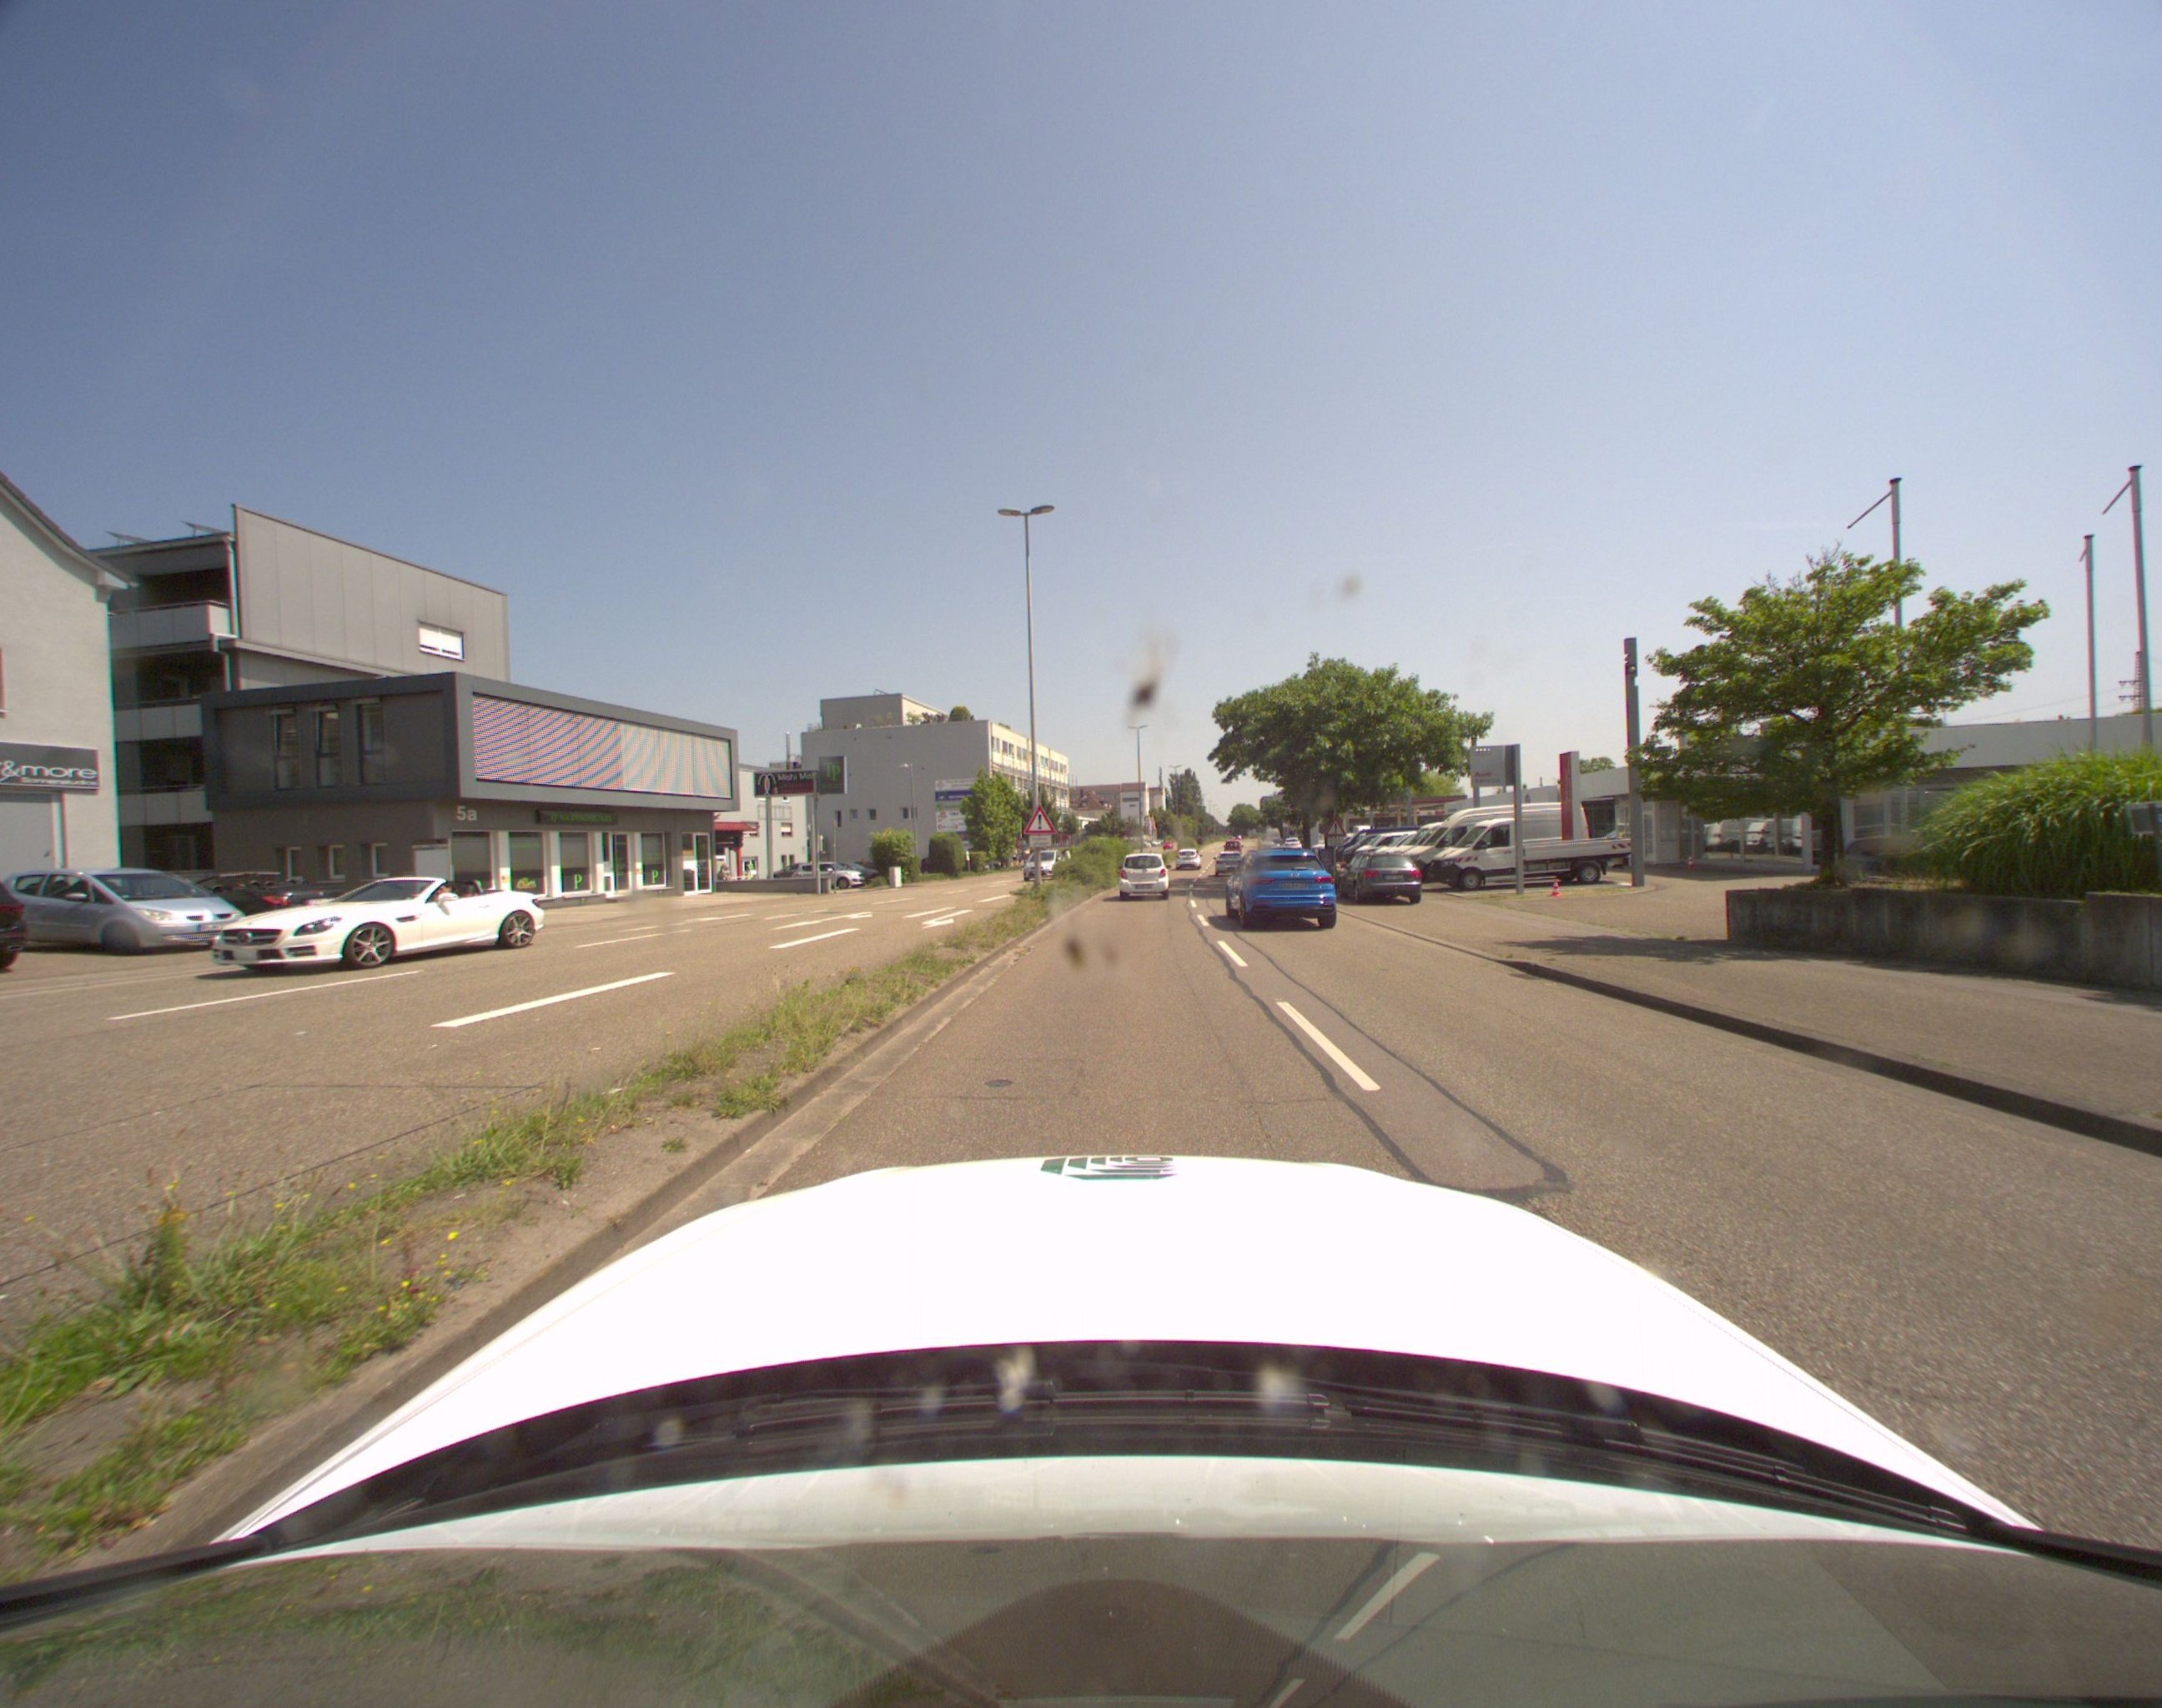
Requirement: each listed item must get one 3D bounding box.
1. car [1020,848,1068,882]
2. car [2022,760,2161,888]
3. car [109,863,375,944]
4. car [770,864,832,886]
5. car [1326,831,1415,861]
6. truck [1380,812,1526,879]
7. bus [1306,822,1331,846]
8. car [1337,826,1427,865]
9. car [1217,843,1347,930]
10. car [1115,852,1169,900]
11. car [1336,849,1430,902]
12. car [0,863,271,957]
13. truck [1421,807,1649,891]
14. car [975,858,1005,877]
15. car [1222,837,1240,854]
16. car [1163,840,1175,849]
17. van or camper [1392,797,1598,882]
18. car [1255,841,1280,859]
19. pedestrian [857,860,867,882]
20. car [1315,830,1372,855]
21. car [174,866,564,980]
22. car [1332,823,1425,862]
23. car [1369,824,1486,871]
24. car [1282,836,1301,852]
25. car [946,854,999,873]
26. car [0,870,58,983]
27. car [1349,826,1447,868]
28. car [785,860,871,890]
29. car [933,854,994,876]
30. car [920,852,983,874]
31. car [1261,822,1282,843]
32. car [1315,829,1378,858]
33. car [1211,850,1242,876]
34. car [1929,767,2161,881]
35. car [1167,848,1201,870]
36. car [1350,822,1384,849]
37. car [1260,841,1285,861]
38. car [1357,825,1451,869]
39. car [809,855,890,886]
[{"bbox_3d":[-1.952,0.550,44.174,1.771,1.629,4.348,-3,0,7],"label":"car"},{"bbox_3d":[23.708,-0.614,16.544,5.845,2.528,2.127,-1,-1,13],"label":"car"},{"bbox_3d":[-18.399,1.047,17.974,4.034,1.521,2.004,-2,0,7],"label":"car"},{"bbox_3d":[-21.205,1.597,61.784,3.952,1.467,1.967,-3,1,5],"label":"car"},{"bbox_3d":[20.823,-0.583,58.846,5.852,2.013,2.267,-1,0,13],"label":"car"},{"bbox_3d":[15.734,-0.353,34.755,5.212,2.435,2.118,-3,0,12],"label":"truck"},{"bbox_3d":[32.979,-2.836,113.470,2.784,3.078,12.335,-1,2,14],"label":"bus"},{"bbox_3d":[18.852,-0.537,51.179,4.870,2.114,2.135,-4,1,9],"label":"car"},{"bbox_3d":[4.170,0.629,17.623,1.905,1.597,4.399,-2,0,3],"label":"car"},{"bbox_3d":[2.113,0.718,27.672,1.704,1.511,3.251,-1,-1,5],"label":"car"},{"bbox_3d":[8.805,0.569,24.072,1.787,1.406,4.331,-1,0,9],"label":"car"},{"bbox_3d":[-18.385,0.998,15.310,4.587,1.496,1.754,2,1,2],"label":"car"},{"bbox_3d":[15.003,-0.166,27.363,6.204,2.336,2.376,-3,1,11],"label":"truck"},{"bbox_3d":[-8.303,1.245,74.448,1.649,1.467,3.809,-4,0,10],"label":"car"},{"bbox_3d":[15.560,-0.880,84.702,1.784,1.729,3.982,-1,0,9],"label":"car"},{"bbox_3d":[15.678,-1.675,144.237,1.620,1.424,3.462,-5,0,12],"label":"car"},{"bbox_3d":[15.966,-0.551,31.822,6.755,2.897,2.282,-3,1,9],"label":"van or camper"},{"bbox_3d":[17.264,-0.382,75.520,1.724,1.552,4.187,-2,1,6],"label":"car"},{"bbox_3d":[-16.497,1.279,61.358,0.542,1.657,0.626,-1,-1,9],"label":"pedestrian"},{"bbox_3d":[21.657,-0.940,67.333,4.125,1.781,1.886,-3,-1,9],"label":"car"},{"bbox_3d":[-10.554,0.929,12.625,1.794,1.354,4.367,-2,0,9],"label":"car"},{"bbox_3d":[20.401,-0.740,56.123,5.803,2.524,2.212,-1,-1,13],"label":"car"},{"bbox_3d":[16.977,-0.300,40.146,4.882,1.971,2.148,-3,0,10],"label":"car"},{"bbox_3d":[22.794,-1.068,88.288,1.656,1.596,4.627,-3,1,10],"label":"car"},{"bbox_3d":[-8.723,0.742,65.693,3.815,1.230,1.865,-3,1,9],"label":"car"},{"bbox_3d":[-18.410,1.051,12.173,4.577,1.627,1.859,1,0,9],"label":"car"},{"bbox_3d":[18.852,-0.420,48.688,5.033,2.097,2.046,-4,0,10],"label":"car"},{"bbox_3d":[-13.299,1.100,42.908,3.967,1.459,1.578,-2,-1,5],"label":"car"},{"bbox_3d":[-9.092,0.851,63.219,4.198,1.349,1.986,-3,1,9],"label":"car"},{"bbox_3d":[-9.585,0.673,60.436,4.125,1.342,2.048,-3,1,8],"label":"car"},{"bbox_3d":[27.951,-3.139,119.680,2.121,2.839,7.326,-6,0,8],"label":"car"},{"bbox_3d":[21.841,-0.885,67.078,4.613,2.013,1.965,-4,1,8],"label":"car"},{"bbox_3d":[8.346,0.500,46.656,1.657,1.399,3.804,-1,0,10],"label":"car"},{"bbox_3d":[24.071,-0.671,19.296,5.247,2.537,2.044,-1,-1,12],"label":"car"},{"bbox_3d":[7.301,0.360,57.973,1.824,1.450,3.998,-1,0,-1],"label":"car"},{"bbox_3d":[30.515,-1.987,87.105,2.241,2.675,7.040,-3,1,11],"label":"car"},{"bbox_3d":[16.462,-0.255,70.187,1.703,1.548,4.802,-3,0,9],"label":"car"},{"bbox_3d":[18.043,-0.385,45.706,4.480,2.013,2.205,-5,-1,11],"label":"car"},{"bbox_3d":[-12.964,0.914,45.651,3.969,1.371,1.675,-4,1,12],"label":"car"}]
